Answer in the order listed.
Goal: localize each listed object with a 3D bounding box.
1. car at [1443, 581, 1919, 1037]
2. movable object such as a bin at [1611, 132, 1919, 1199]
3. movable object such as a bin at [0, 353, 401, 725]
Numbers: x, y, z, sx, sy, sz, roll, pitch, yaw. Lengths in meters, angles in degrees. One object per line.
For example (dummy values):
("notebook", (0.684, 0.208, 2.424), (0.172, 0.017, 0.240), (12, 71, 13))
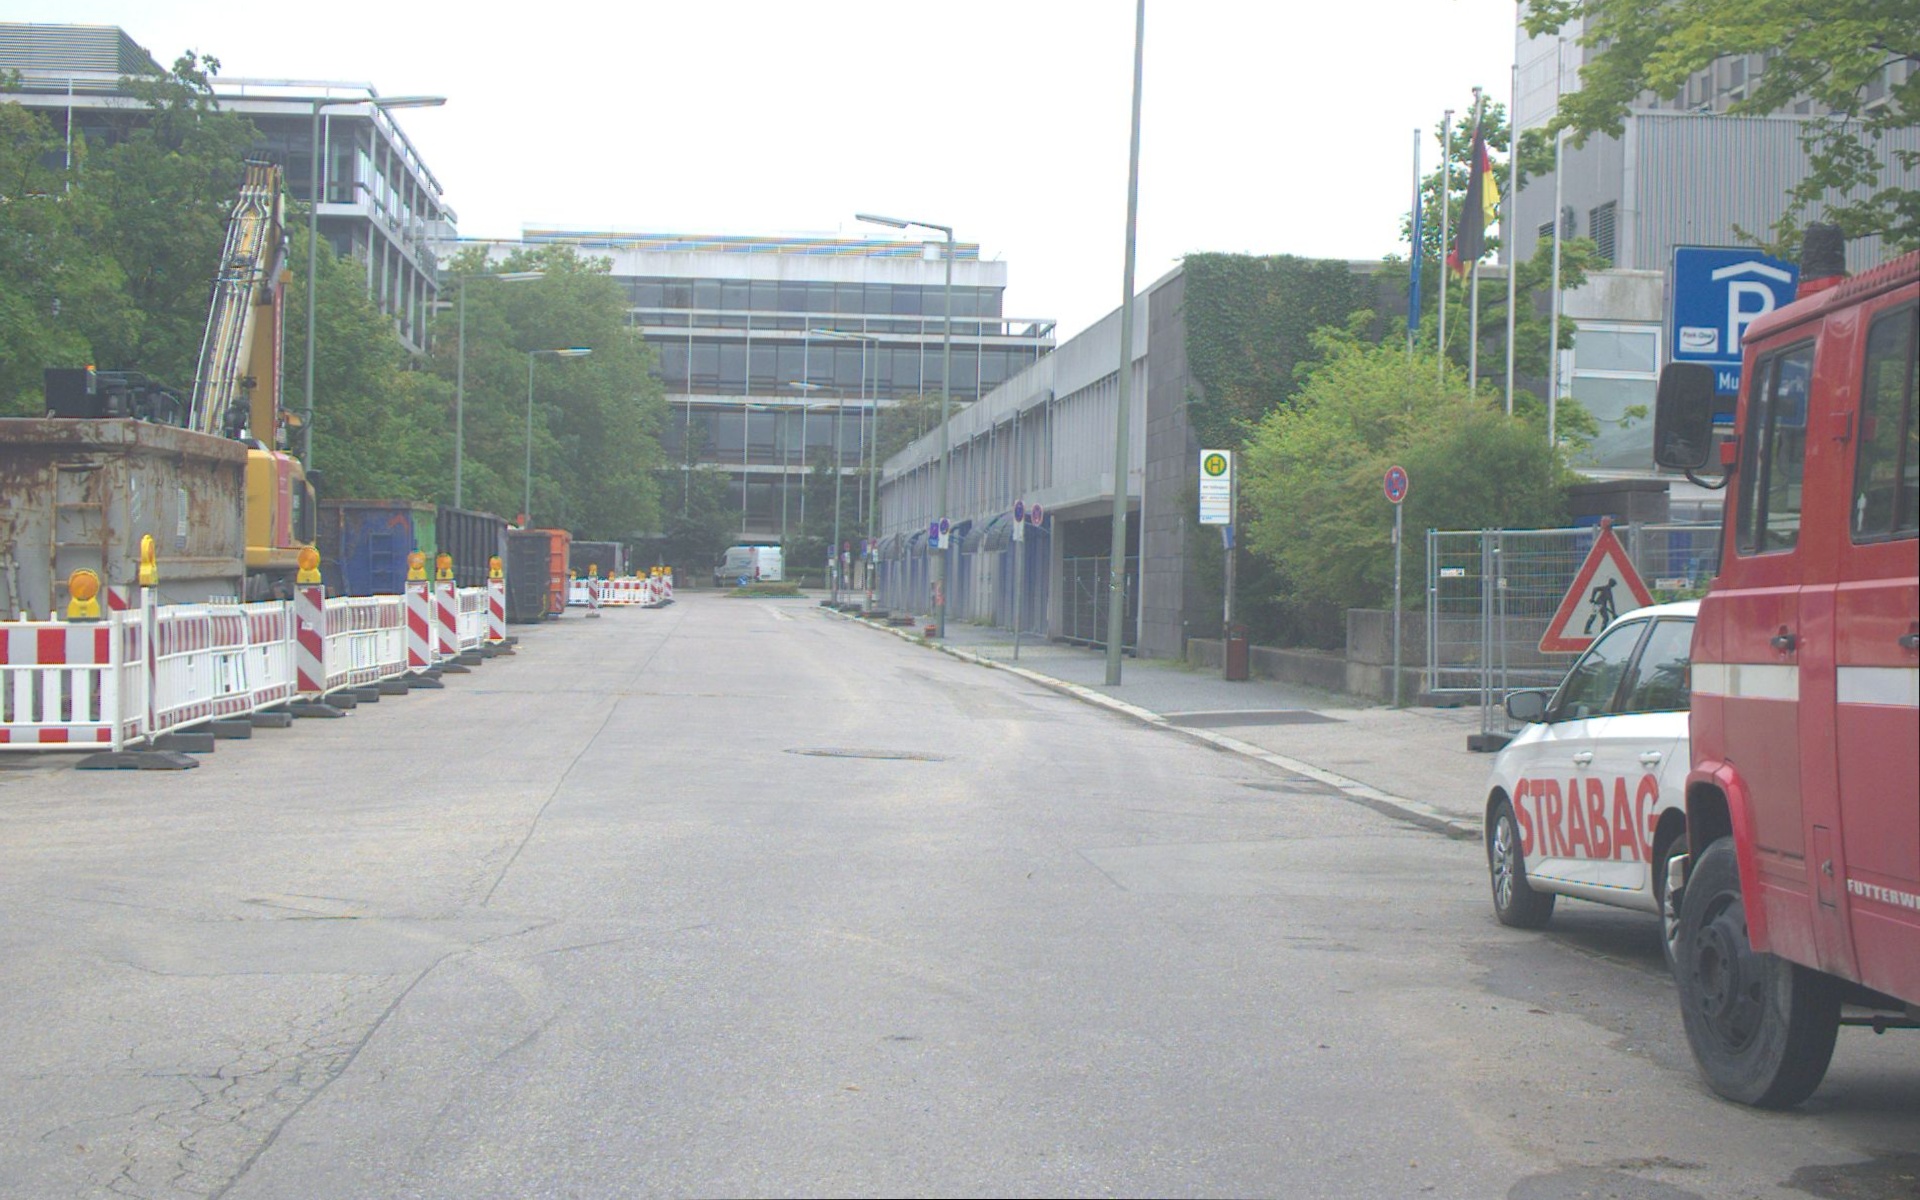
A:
("car", (3.380, 0.721, 14.052), (1.776, 1.544, 4.258), (1, 1, -6))
("movable object such as a bin", (3.091, 0.236, 7.634), (2.104, 2.450, 6.187), (1, 1, 0))
("movable object such as a bin", (-8.585, -0.698, 39.134), (3.241, 3.704, 9.009), (1, 1, -2))
